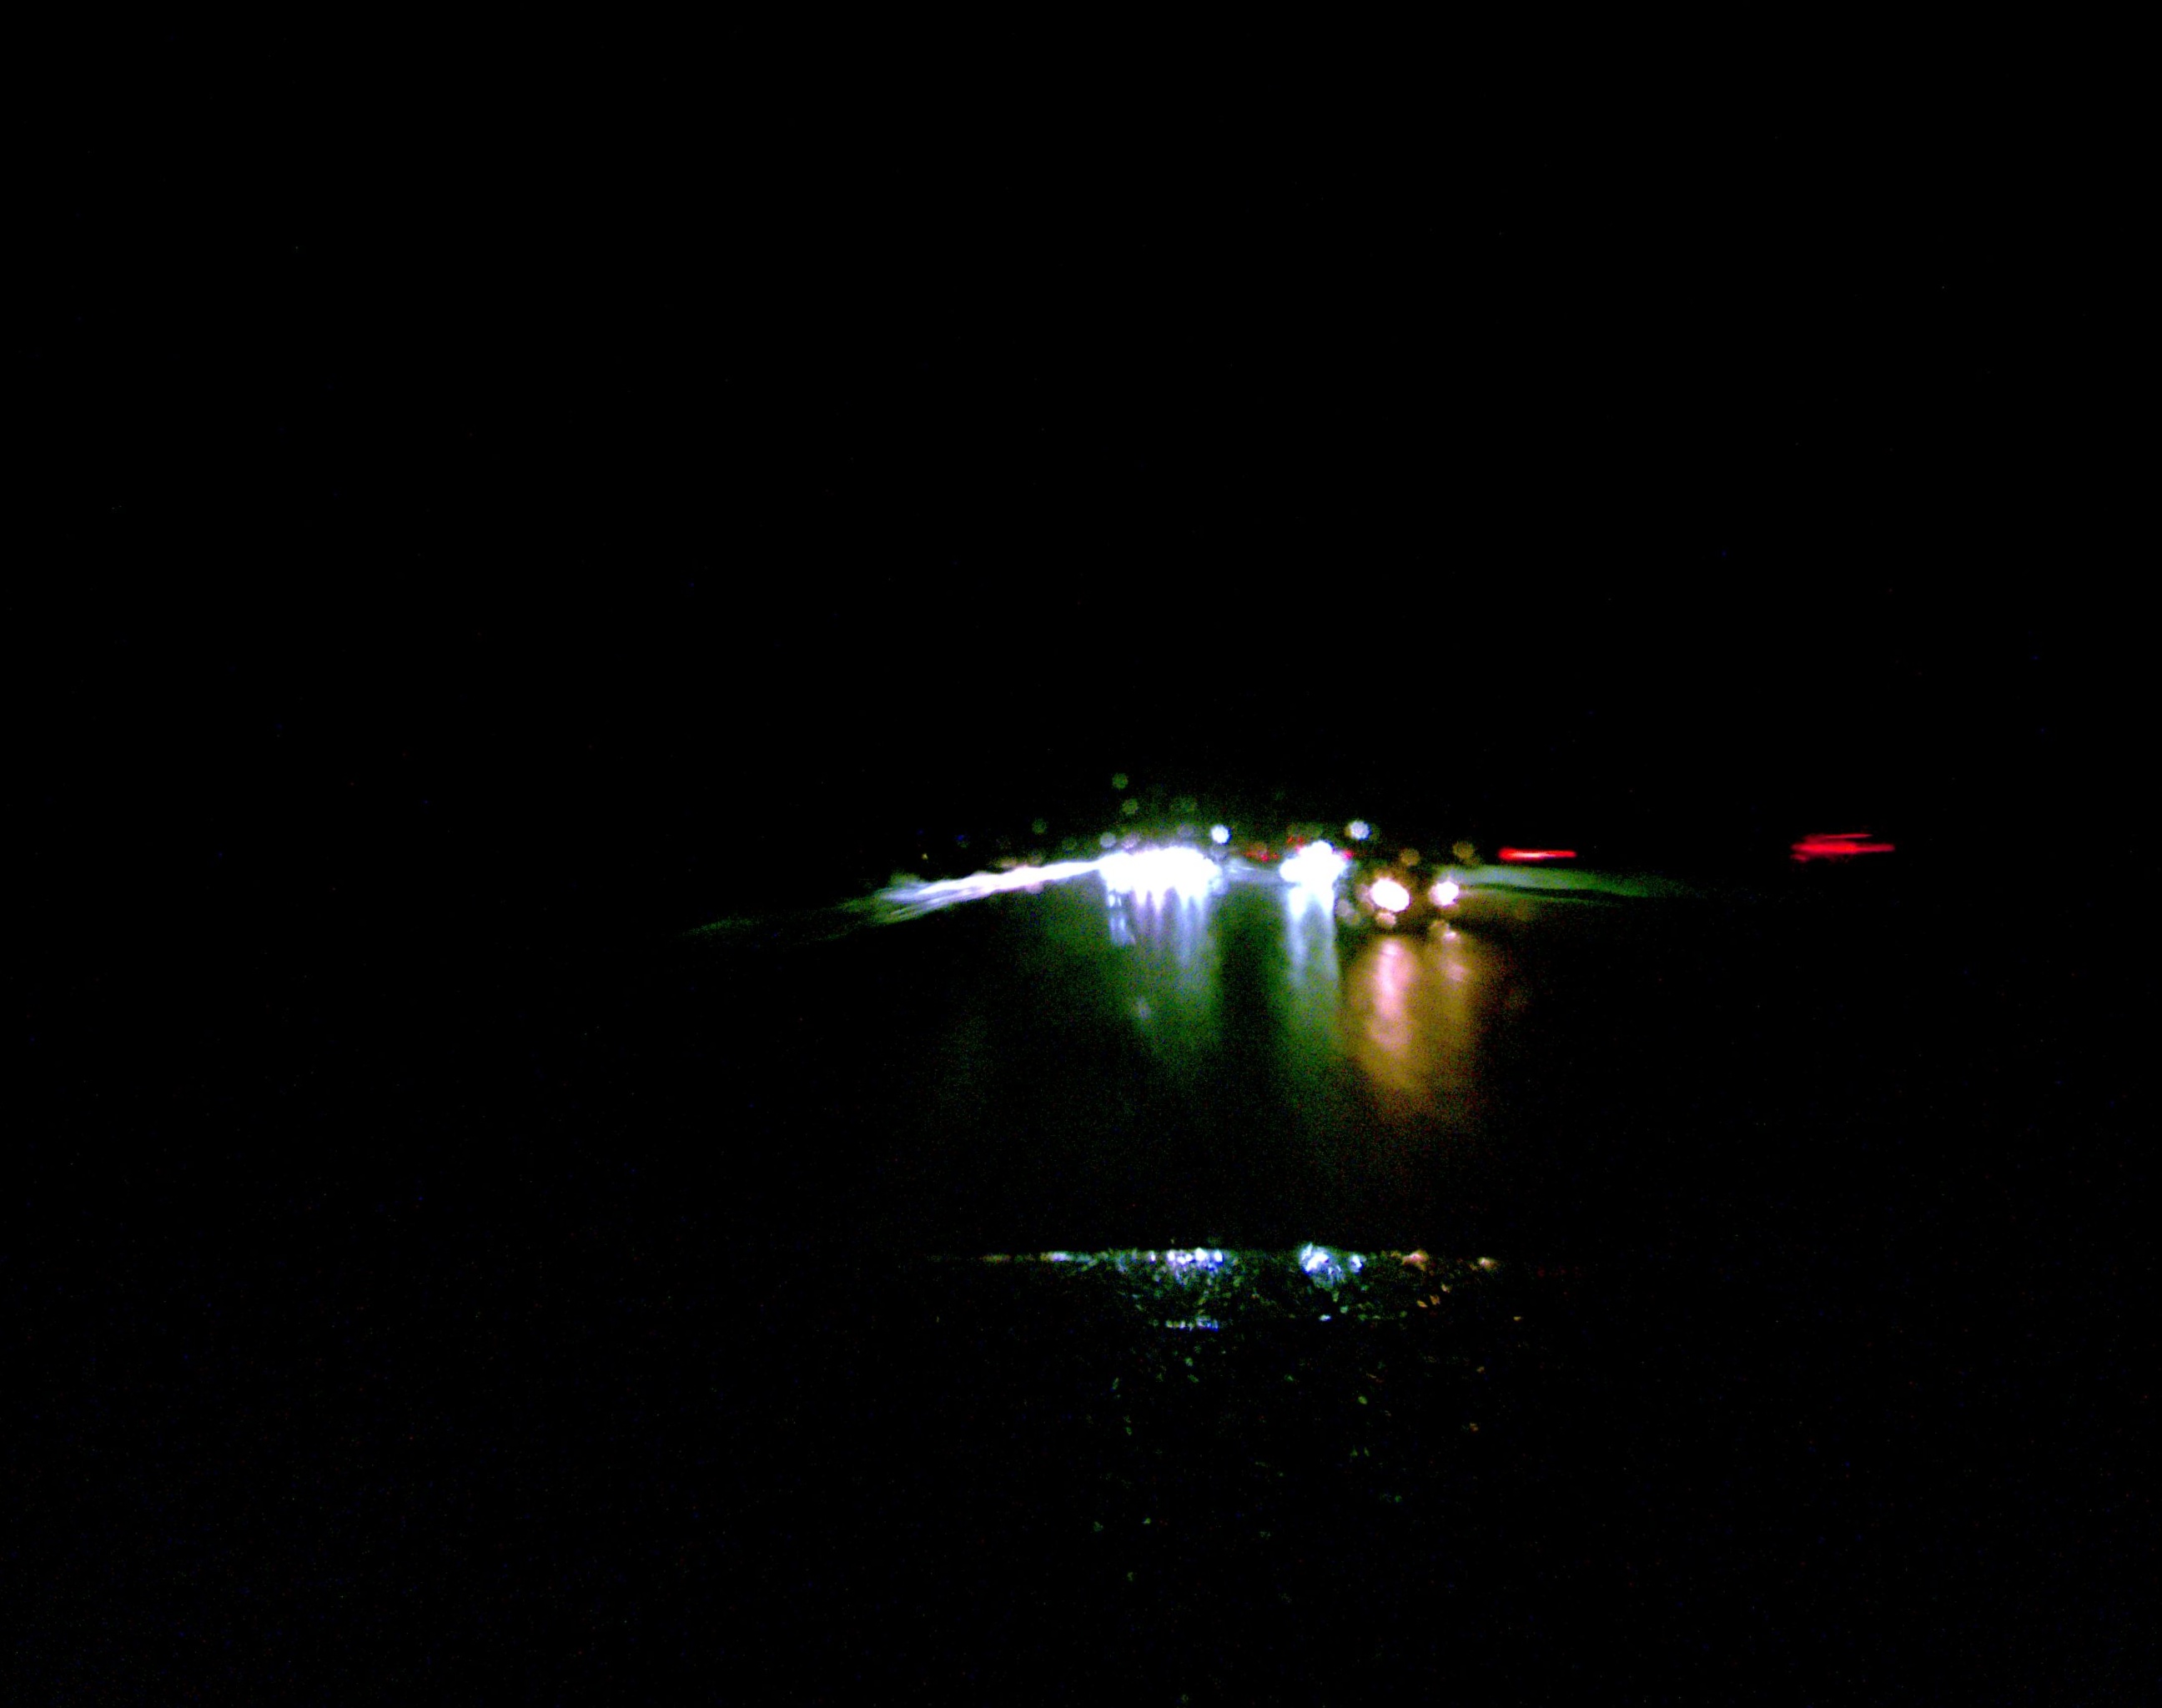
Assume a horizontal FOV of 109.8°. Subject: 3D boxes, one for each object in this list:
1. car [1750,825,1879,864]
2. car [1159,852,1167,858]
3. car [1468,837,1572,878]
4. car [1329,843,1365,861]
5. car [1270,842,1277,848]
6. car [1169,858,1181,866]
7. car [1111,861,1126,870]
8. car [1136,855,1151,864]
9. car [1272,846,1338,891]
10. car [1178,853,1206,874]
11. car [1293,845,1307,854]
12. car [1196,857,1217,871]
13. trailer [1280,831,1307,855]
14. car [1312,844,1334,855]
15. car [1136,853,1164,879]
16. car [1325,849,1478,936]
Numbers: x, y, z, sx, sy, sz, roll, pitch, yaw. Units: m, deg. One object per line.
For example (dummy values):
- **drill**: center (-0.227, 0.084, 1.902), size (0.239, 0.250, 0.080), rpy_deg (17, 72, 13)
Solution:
- **car**: center (31.663, -0.409, 32.987), size (1.780, 1.462, 3.985), rpy_deg (-4, 0, 2)
- **car**: center (22.811, 0.215, 212.292), size (1.998, 1.379, 4.001), rpy_deg (-4, 0, 4)
- **car**: center (20.055, 0.137, 34.983), size (1.998, 1.586, 4.673), rpy_deg (-4, 0, 1)
- **car**: center (26.738, -0.228, 76.530), size (1.998, 1.586, 5.021), rpy_deg (-4, 0, 3)
- **car**: center (64.808, -3.034, 255.886), size (1.779, 1.586, 4.003), rpy_deg (-5, -1, 10)
- **car**: center (15.003, 1.256, 121.785), size (1.692, 1.149, 3.421), rpy_deg (-3, 0, 4)
- **car**: center (5.280, 1.597, 107.117), size (1.998, 1.149, 4.000), rpy_deg (-3, 0, 2)
- **car**: center (8.775, 0.727, 107.317), size (1.998, 1.149, 4.001), rpy_deg (-3, 0, 4)
- **car**: center (11.128, 0.672, 38.070), size (2.143, 2.002, 4.530), rpy_deg (-3, 0, 4)
- **car**: center (9.519, 0.806, 65.442), size (1.998, 1.667, 4.001), rpy_deg (-3, 0, 5)
- **car**: center (41.610, -0.848, 144.257), size (1.779, 1.586, 4.226), rpy_deg (-4, 0, 8)
- **car**: center (16.638, 1.298, 100.824), size (2.310, 1.600, 3.872), rpy_deg (-3, 0, 4)
- **trailer**: center (46.133, -2.374, 165.748), size (3.271, 5.039, 13.976), rpy_deg (-3, 0, 6)
- **car**: center (38.594, -0.662, 121.306), size (1.780, 1.586, 5.152), rpy_deg (-4, 0, 1)
- **car**: center (5.664, 0.981, 63.002), size (1.998, 2.002, 4.000), rpy_deg (-3, 0, 2)
- **car**: center (6.782, 0.728, 16.596), size (1.920, 1.585, 4.235), rpy_deg (-3, 0, 6)
